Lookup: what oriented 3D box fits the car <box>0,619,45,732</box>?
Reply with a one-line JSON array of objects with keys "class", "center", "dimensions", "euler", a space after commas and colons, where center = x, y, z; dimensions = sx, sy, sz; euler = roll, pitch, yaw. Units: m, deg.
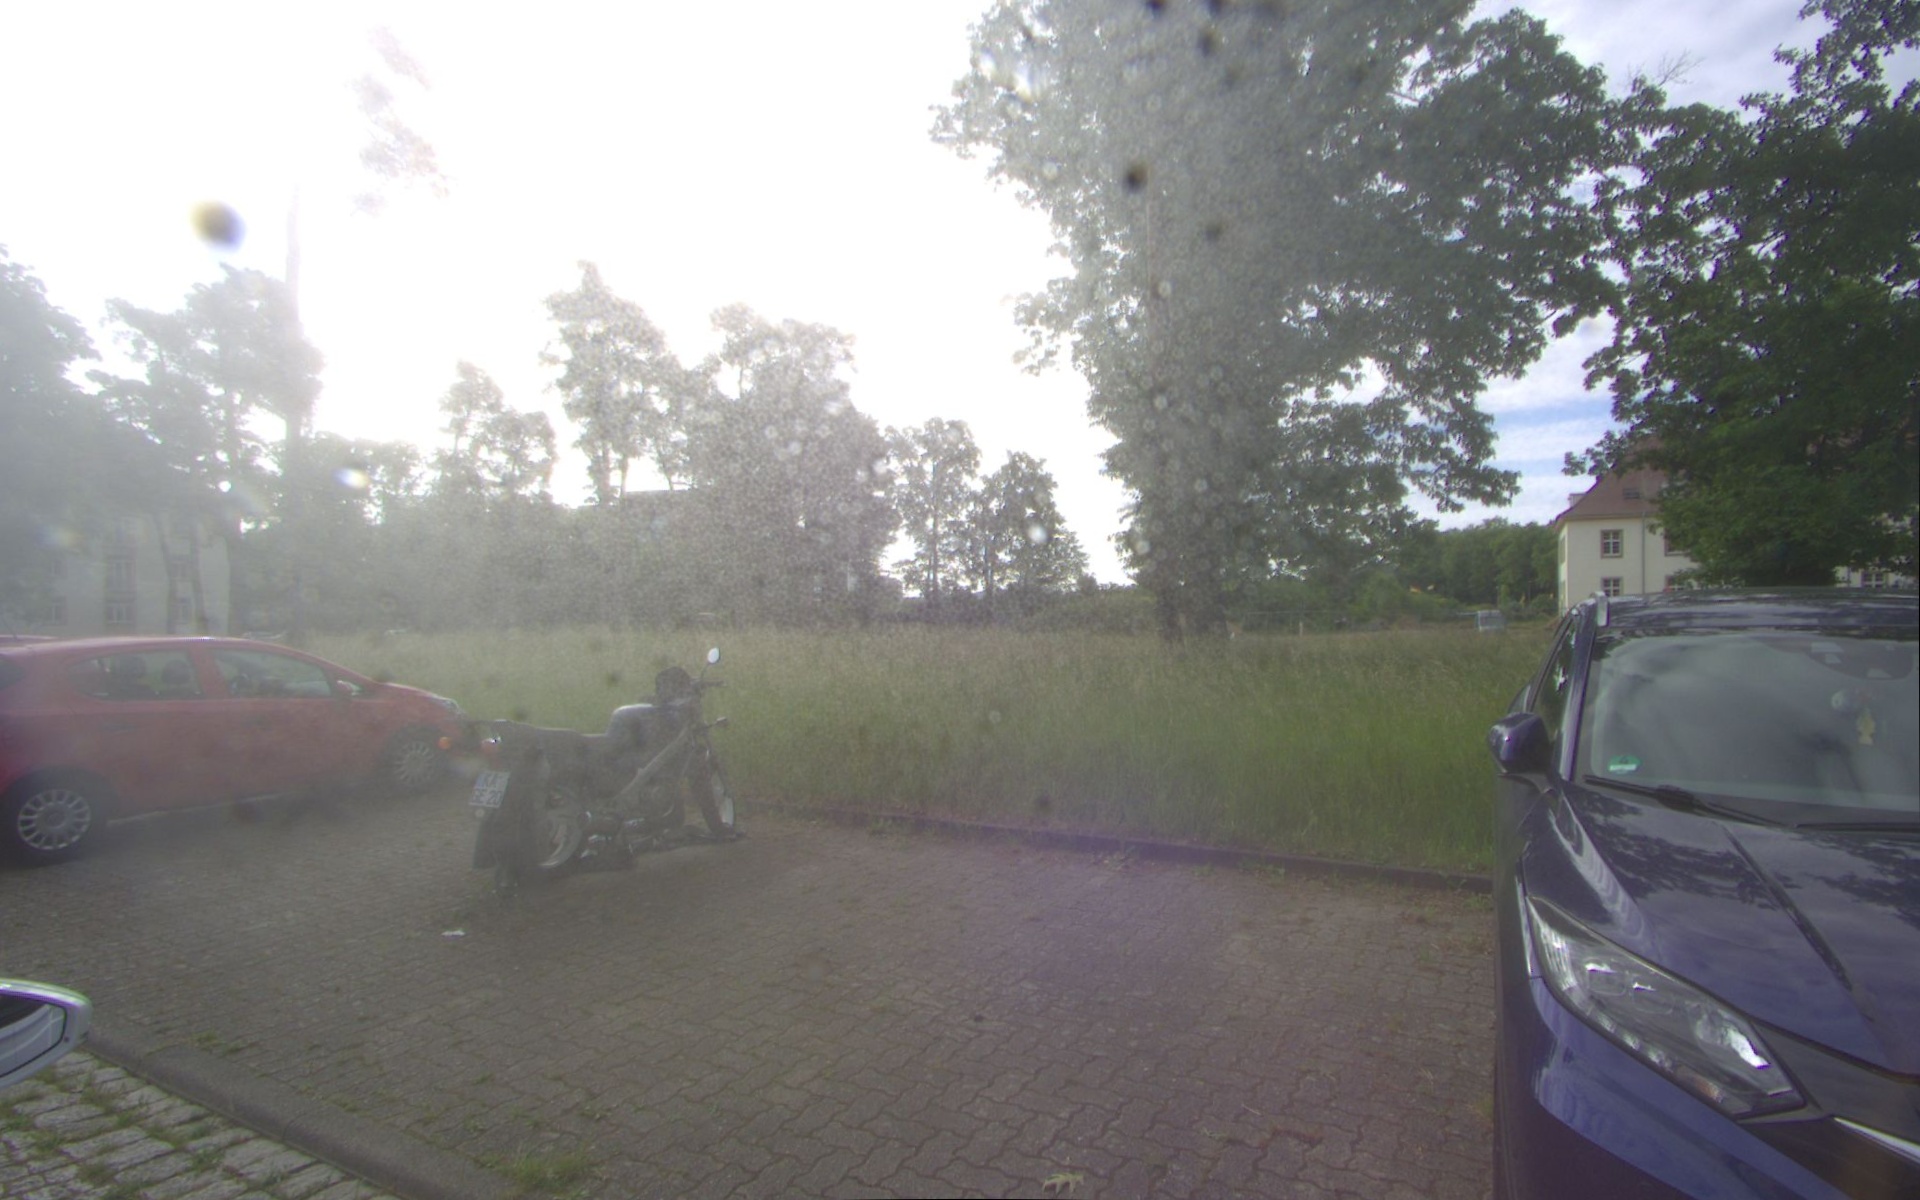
[{"class": "car", "center": [-14.920, 1.087, 13.074], "dimensions": [1.723, 1.573, 4.026], "euler": [-1, 0, 27]}]

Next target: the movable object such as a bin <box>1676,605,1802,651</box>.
[{"class": "movable object such as a bin", "center": [47.989, 1.759, 61.873], "dimensions": [5.891, 2.689, 2.165], "euler": [-1, -2, 32]}]

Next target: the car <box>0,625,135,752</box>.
[{"class": "car", "center": [-12.552, 1.102, 11.959], "dimensions": [1.725, 1.479, 3.787], "euler": [-1, 0, 29]}]

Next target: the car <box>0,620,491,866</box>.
[{"class": "car", "center": [-6.107, 0.959, 8.172], "dimensions": [1.752, 1.479, 3.821], "euler": [-1, 0, 28]}]

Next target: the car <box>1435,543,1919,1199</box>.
[{"class": "car", "center": [2.578, 0.741, 3.056], "dimensions": [1.766, 1.591, 4.158], "euler": [-2, -2, 29]}]

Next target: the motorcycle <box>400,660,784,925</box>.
[{"class": "motorcycle", "center": [-2.116, 1.031, 6.207], "dimensions": [0.783, 1.201, 2.326], "euler": [-1, 0, 26]}]
